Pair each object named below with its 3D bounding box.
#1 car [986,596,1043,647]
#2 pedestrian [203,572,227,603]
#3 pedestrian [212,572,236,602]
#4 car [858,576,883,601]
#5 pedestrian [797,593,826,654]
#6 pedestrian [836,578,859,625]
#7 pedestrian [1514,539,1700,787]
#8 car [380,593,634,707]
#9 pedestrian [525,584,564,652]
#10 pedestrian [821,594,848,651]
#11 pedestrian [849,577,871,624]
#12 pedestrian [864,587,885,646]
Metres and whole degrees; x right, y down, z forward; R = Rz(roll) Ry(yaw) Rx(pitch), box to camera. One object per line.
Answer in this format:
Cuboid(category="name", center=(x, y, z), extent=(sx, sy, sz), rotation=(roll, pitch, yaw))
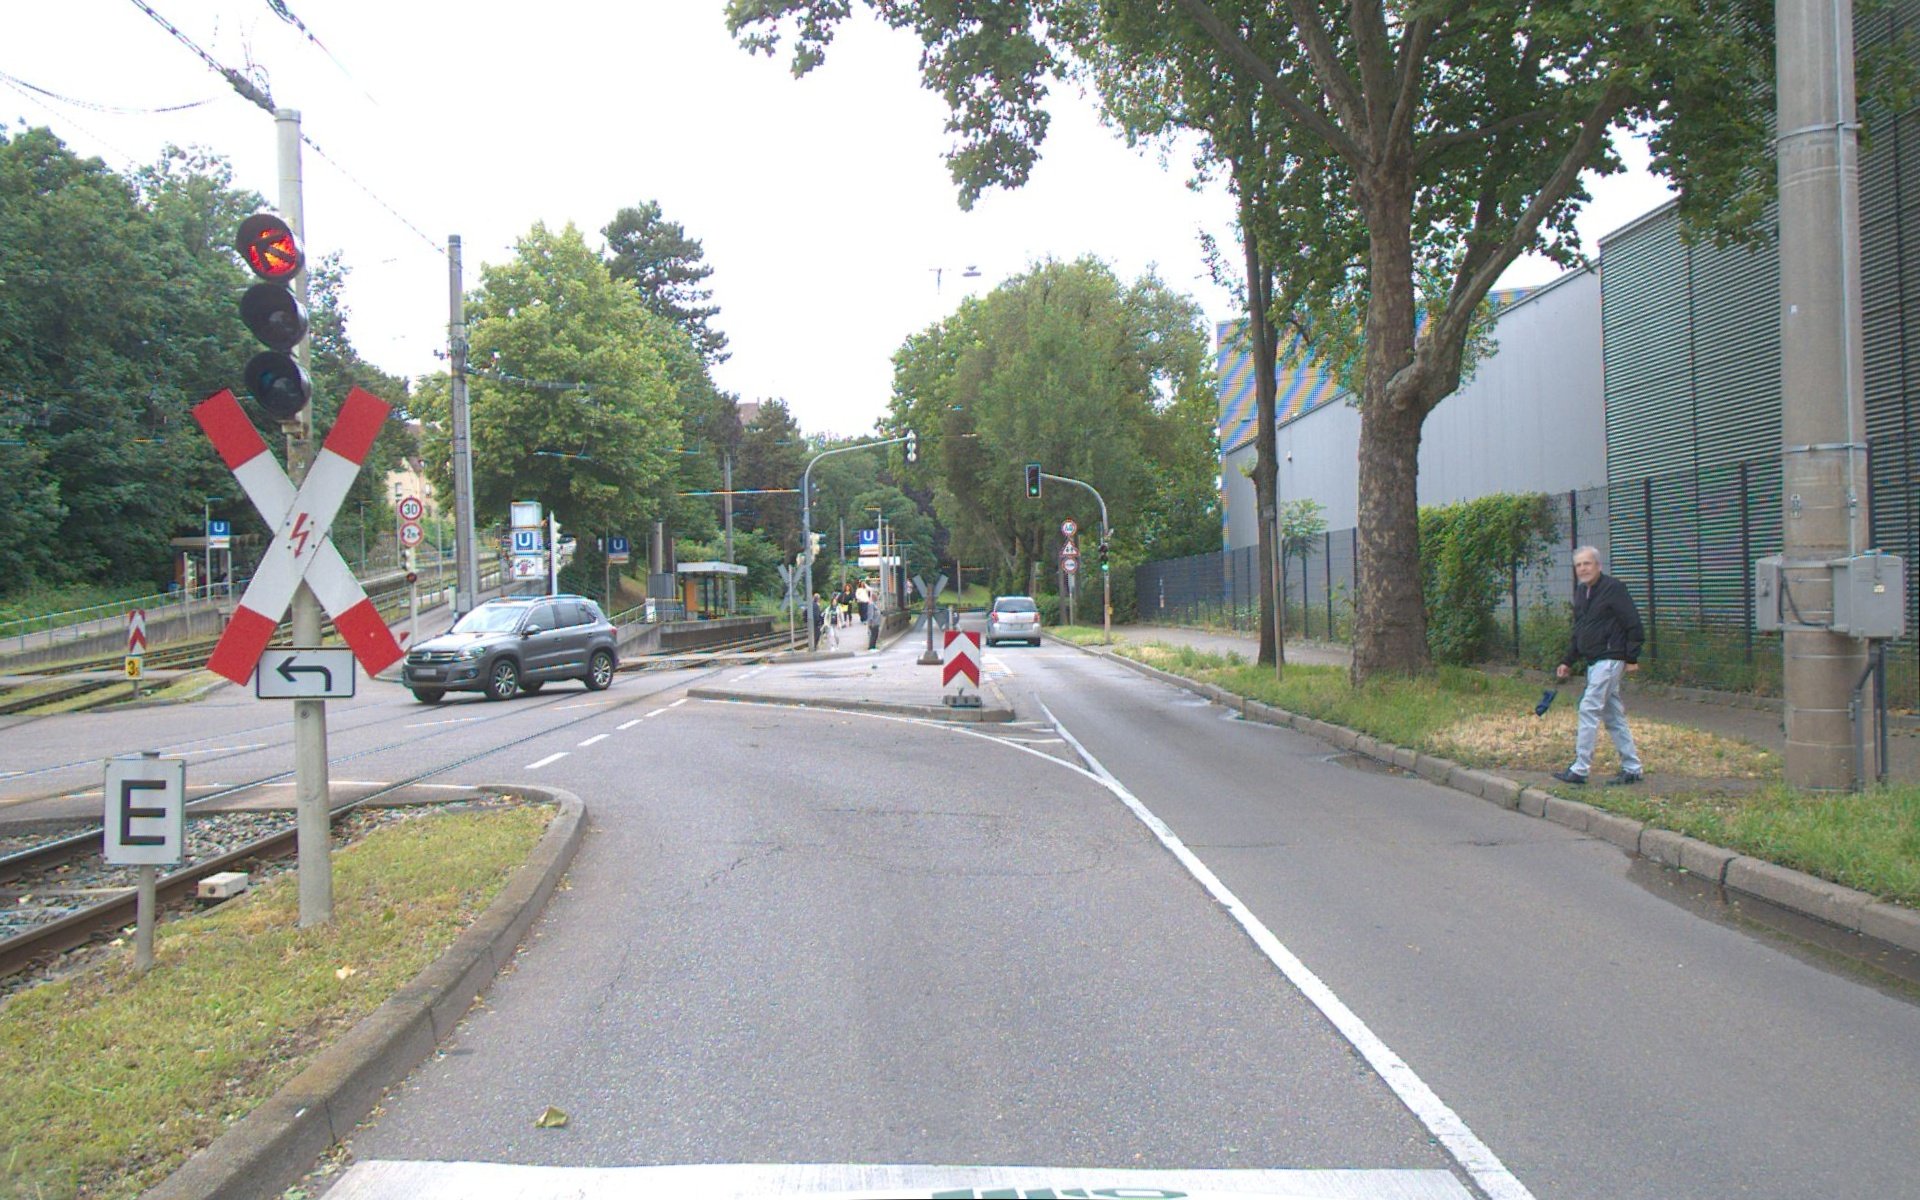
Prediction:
Cuboid(category="car", center=(1.803, 0.697, 55.631), extent=(1.708, 1.627, 3.999), rotation=(1, 0, -1))
Cuboid(category="pedestrian", center=(-33.362, -0.568, 74.050), extent=(0.757, 1.349, 0.786), rotation=(1, 2, -9))
Cuboid(category="pedestrian", center=(-33.517, -0.599, 75.331), extent=(0.757, 1.349, 0.785), rotation=(1, -1, -9))
Cuboid(category="car", center=(-7.590, -0.947, 140.245), extent=(1.953, 2.049, 3.999), rotation=(1, 0, -1))
Cuboid(category="pedestrian", center=(-4.170, 0.665, 46.484), extent=(0.720, 1.694, 0.682), rotation=(1, -1, 1))
Cuboid(category="pedestrian", center=(-4.060, 0.057, 59.649), extent=(0.722, 1.694, 0.680), rotation=(1, -1, -11))
Cuboid(category="pedestrian", center=(4.927, 0.462, 12.591), extent=(1.110, 1.791, 0.802), rotation=(-1, -2, -40))
Cuboid(category="car", center=(-7.713, 0.817, 28.518), extent=(1.864, 1.748, 4.131), rotation=(-3, -1, 28))
Cuboid(category="pedestrian", center=(-11.471, 0.503, 45.644), extent=(0.656, 1.853, 0.803), rotation=(1, -1, 32))
Cuboid(category="pedestrian", center=(-3.836, 0.687, 50.387), extent=(0.722, 1.694, 0.680), rotation=(1, -1, -11))
Cuboid(category="pedestrian", center=(-3.662, 0.028, 60.604), extent=(0.722, 1.694, 0.680), rotation=(1, -1, -11))
Cuboid(category="pedestrian", center=(-2.630, 0.509, 50.738), extent=(0.538, 1.789, 0.738), rotation=(1, -1, 4))
